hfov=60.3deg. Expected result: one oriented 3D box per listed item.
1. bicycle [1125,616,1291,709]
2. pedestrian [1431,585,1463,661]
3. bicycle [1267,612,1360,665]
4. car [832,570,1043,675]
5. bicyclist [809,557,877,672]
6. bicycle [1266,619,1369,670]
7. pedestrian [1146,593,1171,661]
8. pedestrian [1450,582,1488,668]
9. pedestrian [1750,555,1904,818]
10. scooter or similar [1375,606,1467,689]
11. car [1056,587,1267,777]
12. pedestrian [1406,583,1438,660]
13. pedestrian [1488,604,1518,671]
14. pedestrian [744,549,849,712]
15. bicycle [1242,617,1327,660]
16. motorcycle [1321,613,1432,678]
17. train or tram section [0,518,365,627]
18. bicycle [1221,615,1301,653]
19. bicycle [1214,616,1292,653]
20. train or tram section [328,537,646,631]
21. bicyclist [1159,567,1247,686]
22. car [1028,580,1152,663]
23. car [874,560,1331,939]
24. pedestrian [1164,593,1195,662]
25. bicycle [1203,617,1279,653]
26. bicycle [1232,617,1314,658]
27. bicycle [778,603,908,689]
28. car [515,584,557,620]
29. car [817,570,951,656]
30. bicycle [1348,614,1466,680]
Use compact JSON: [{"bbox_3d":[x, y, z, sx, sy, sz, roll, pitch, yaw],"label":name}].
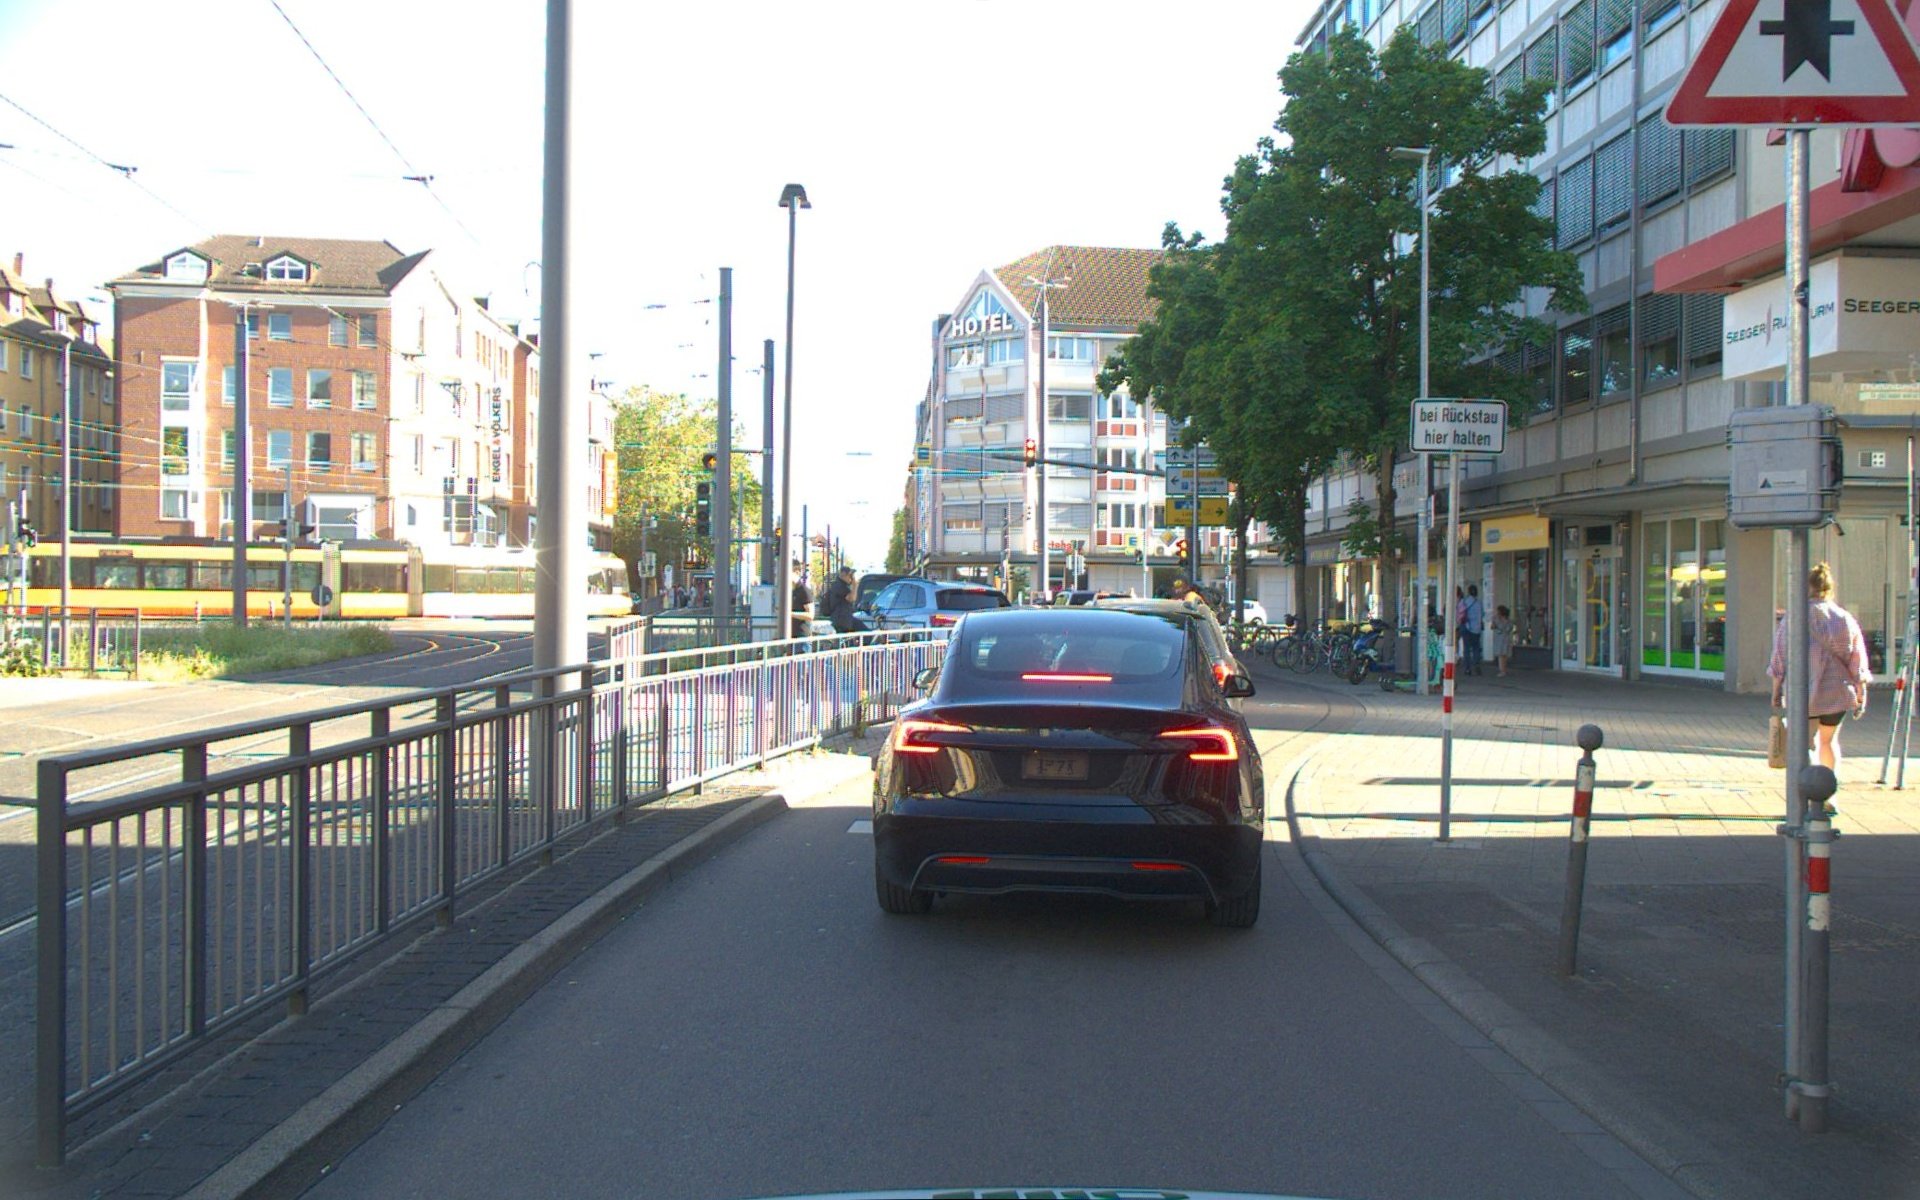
[{"bbox_3d":[3.172,0.802,21.197,1.941,1.091,0.771,3,0,-16],"label":"bicycle"},{"bbox_3d":[10.822,0.498,36.729,0.520,1.670,0.593,0,0,-1],"label":"pedestrian"},{"bbox_3d":[7.698,0.829,36.059,1.885,1.116,0.554,1,0,-2],"label":"bicycle"},{"bbox_3d":[-0.461,0.326,27.138,1.762,1.545,4.181,3,0,-27],"label":"car"},{"bbox_3d":[-1.624,0.200,22.828,0.821,1.526,0.558,3,-1,-10],"label":"bicyclist"},{"bbox_3d":[7.375,0.922,34.144,2.010,0.999,0.482,1,0,-2],"label":"bicycle"},{"bbox_3d":[5.053,0.678,42.152,0.550,1.712,0.750,2,0,2],"label":"pedestrian"},{"bbox_3d":[9.991,0.485,32.471,0.583,1.670,0.466,0,0,-1],"label":"pedestrian"},{"bbox_3d":[5.965,0.573,11.417,0.800,1.712,0.714,2,-1,21],"label":"pedestrian"},{"bbox_3d":[7.682,0.789,27.549,1.392,1.340,0.690,1,-2,-28],"label":"scooter or similar"},{"bbox_3d":[1.873,0.634,15.186,1.618,1.443,4.003,2,1,8],"label":"car"},{"bbox_3d":[10.197,0.470,36.477,0.520,1.670,0.606,0,0,-1],"label":"pedestrian"},{"bbox_3d":[10.620,0.727,32.364,0.411,1.303,0.531,0,0,-1],"label":"pedestrian"},{"bbox_3d":[-1.835,0.345,18.594,0.992,1.772,0.524,3,-1,-28],"label":"pedestrian"},{"bbox_3d":[7.649,0.906,39.049,1.885,0.967,0.526,1,0,-2],"label":"bicycle"},{"bbox_3d":[8.039,0.879,31.951,1.951,1.147,0.596,3,-1,-3],"label":"motorcycle"},{"bbox_3d":[-32.226,-1.049,68.409,13.993,3.780,2.657,3,0,-30],"label":"train or tram section"},{"bbox_3d":[7.492,0.848,41.164,1.885,0.903,0.526,1,0,-2],"label":"bicycle"},{"bbox_3d":[7.457,0.869,42.133,1.885,0.906,0.526,1,0,-2],"label":"bicycle"},{"bbox_3d":[-21.576,-0.600,77.124,2.597,3.783,15.302,2,0,40],"label":"train or tram section"},{"bbox_3d":[3.121,0.339,21.251,0.893,1.463,0.626,3,-1,-16],"label":"bicyclist"},{"bbox_3d":[2.621,0.429,34.153,1.790,1.545,3.643,3,0,-8],"label":"car"},{"bbox_3d":[0.500,0.625,8.703,1.812,1.510,3.784,2,0,-4],"label":"car"},{"bbox_3d":[5.331,0.657,40.208,0.616,1.642,0.643,2,0,1],"label":"pedestrian"},{"bbox_3d":[7.328,0.916,43.218,1.885,0.906,0.526,1,0,-2],"label":"bicycle"},{"bbox_3d":[7.575,0.906,40.062,1.885,0.967,0.526,1,0,-2],"label":"bicycle"},{"bbox_3d":[-1.619,0.628,22.856,1.697,1.107,0.676,3,0,-11],"label":"bicycle"},{"bbox_3d":[-26.030,0.110,101.561,1.956,2.049,3.993,3,0,-8],"label":"car"},{"bbox_3d":[-1.601,0.233,33.433,1.794,1.545,4.201,3,0,-15],"label":"car"},{"bbox_3d":[8.090,0.845,29.960,2.010,1.141,0.482,1,0,-2],"label":"bicycle"}]
